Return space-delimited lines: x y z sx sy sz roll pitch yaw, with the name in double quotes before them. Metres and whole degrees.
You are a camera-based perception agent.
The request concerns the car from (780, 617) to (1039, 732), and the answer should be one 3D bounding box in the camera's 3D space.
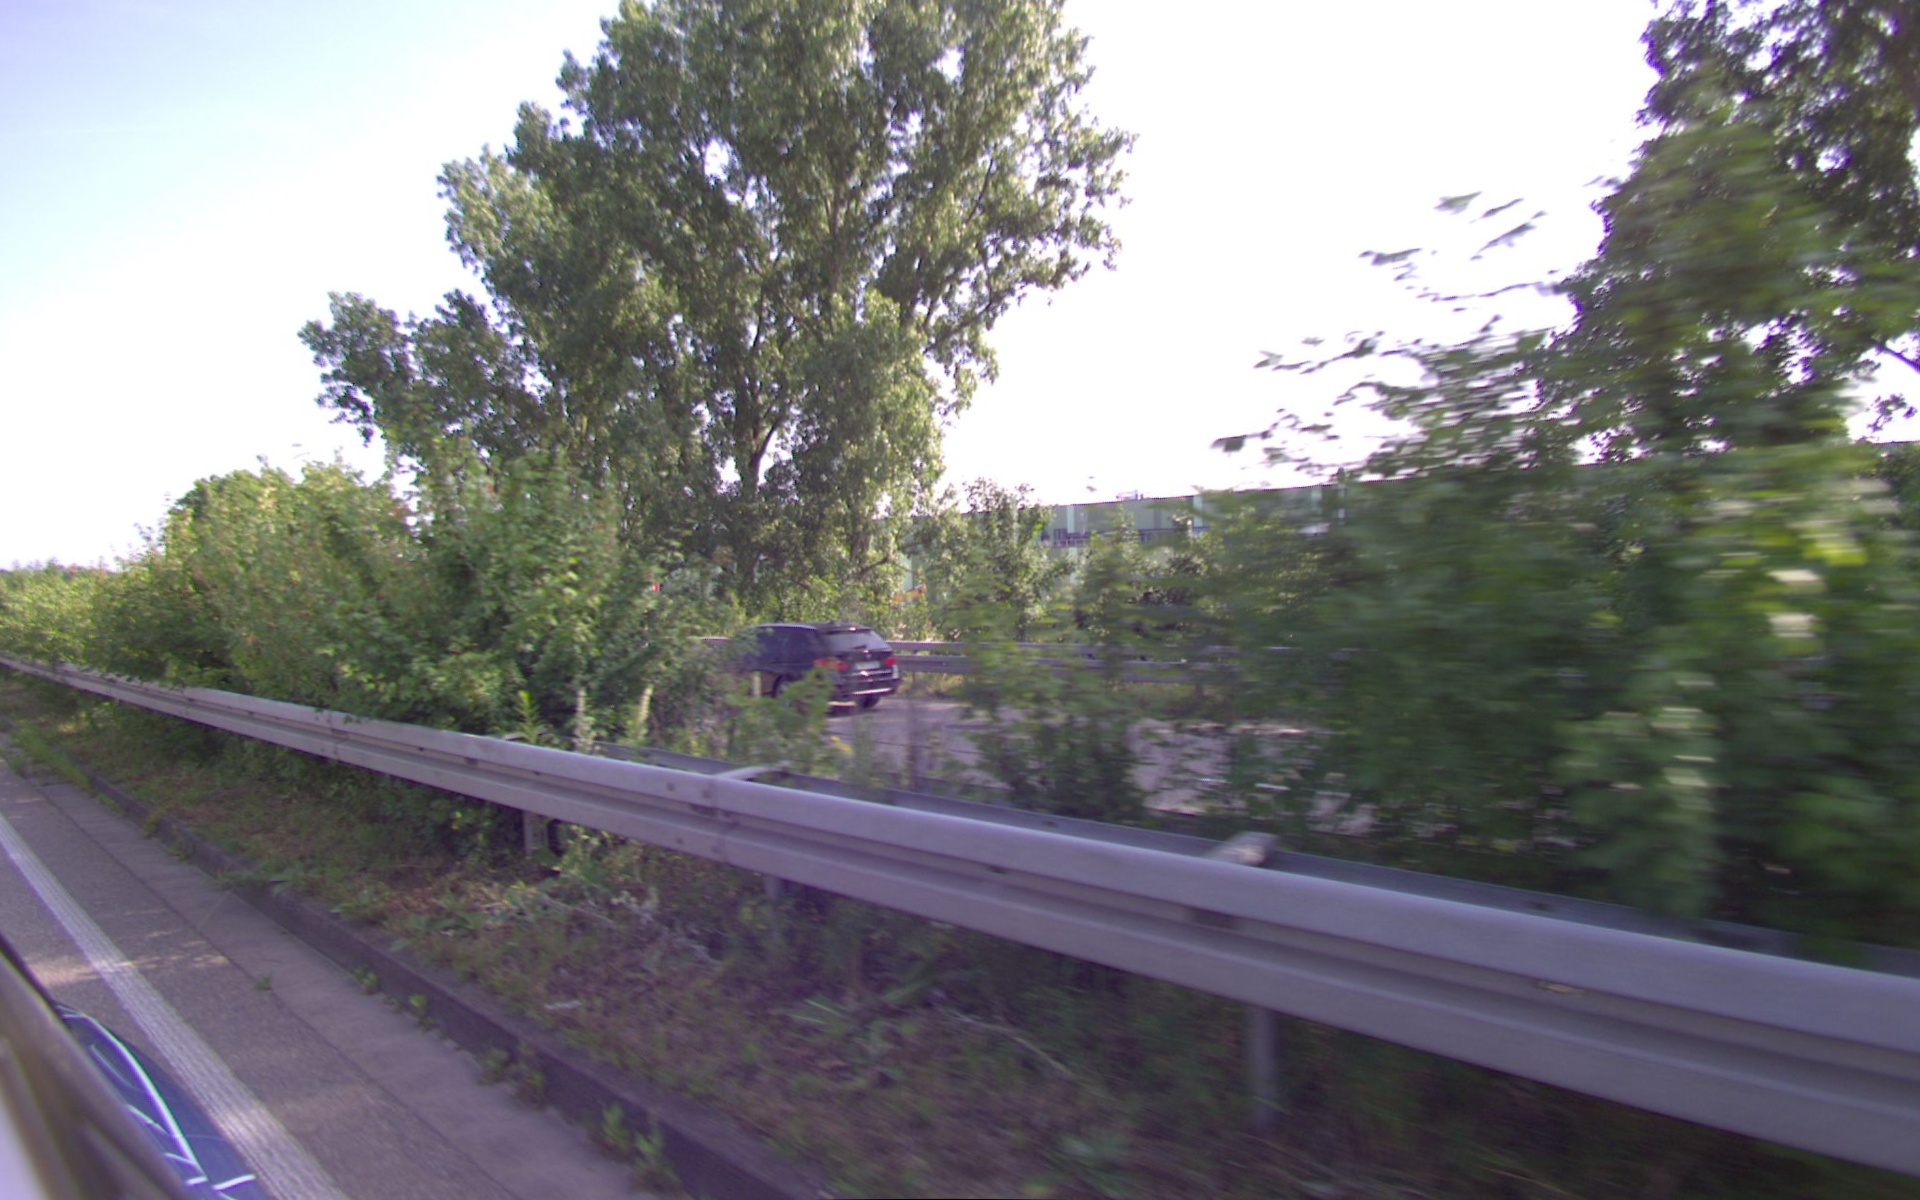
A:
"car" -0.816 0.978 14.701 3.706 1.386 1.594 0 1 41
